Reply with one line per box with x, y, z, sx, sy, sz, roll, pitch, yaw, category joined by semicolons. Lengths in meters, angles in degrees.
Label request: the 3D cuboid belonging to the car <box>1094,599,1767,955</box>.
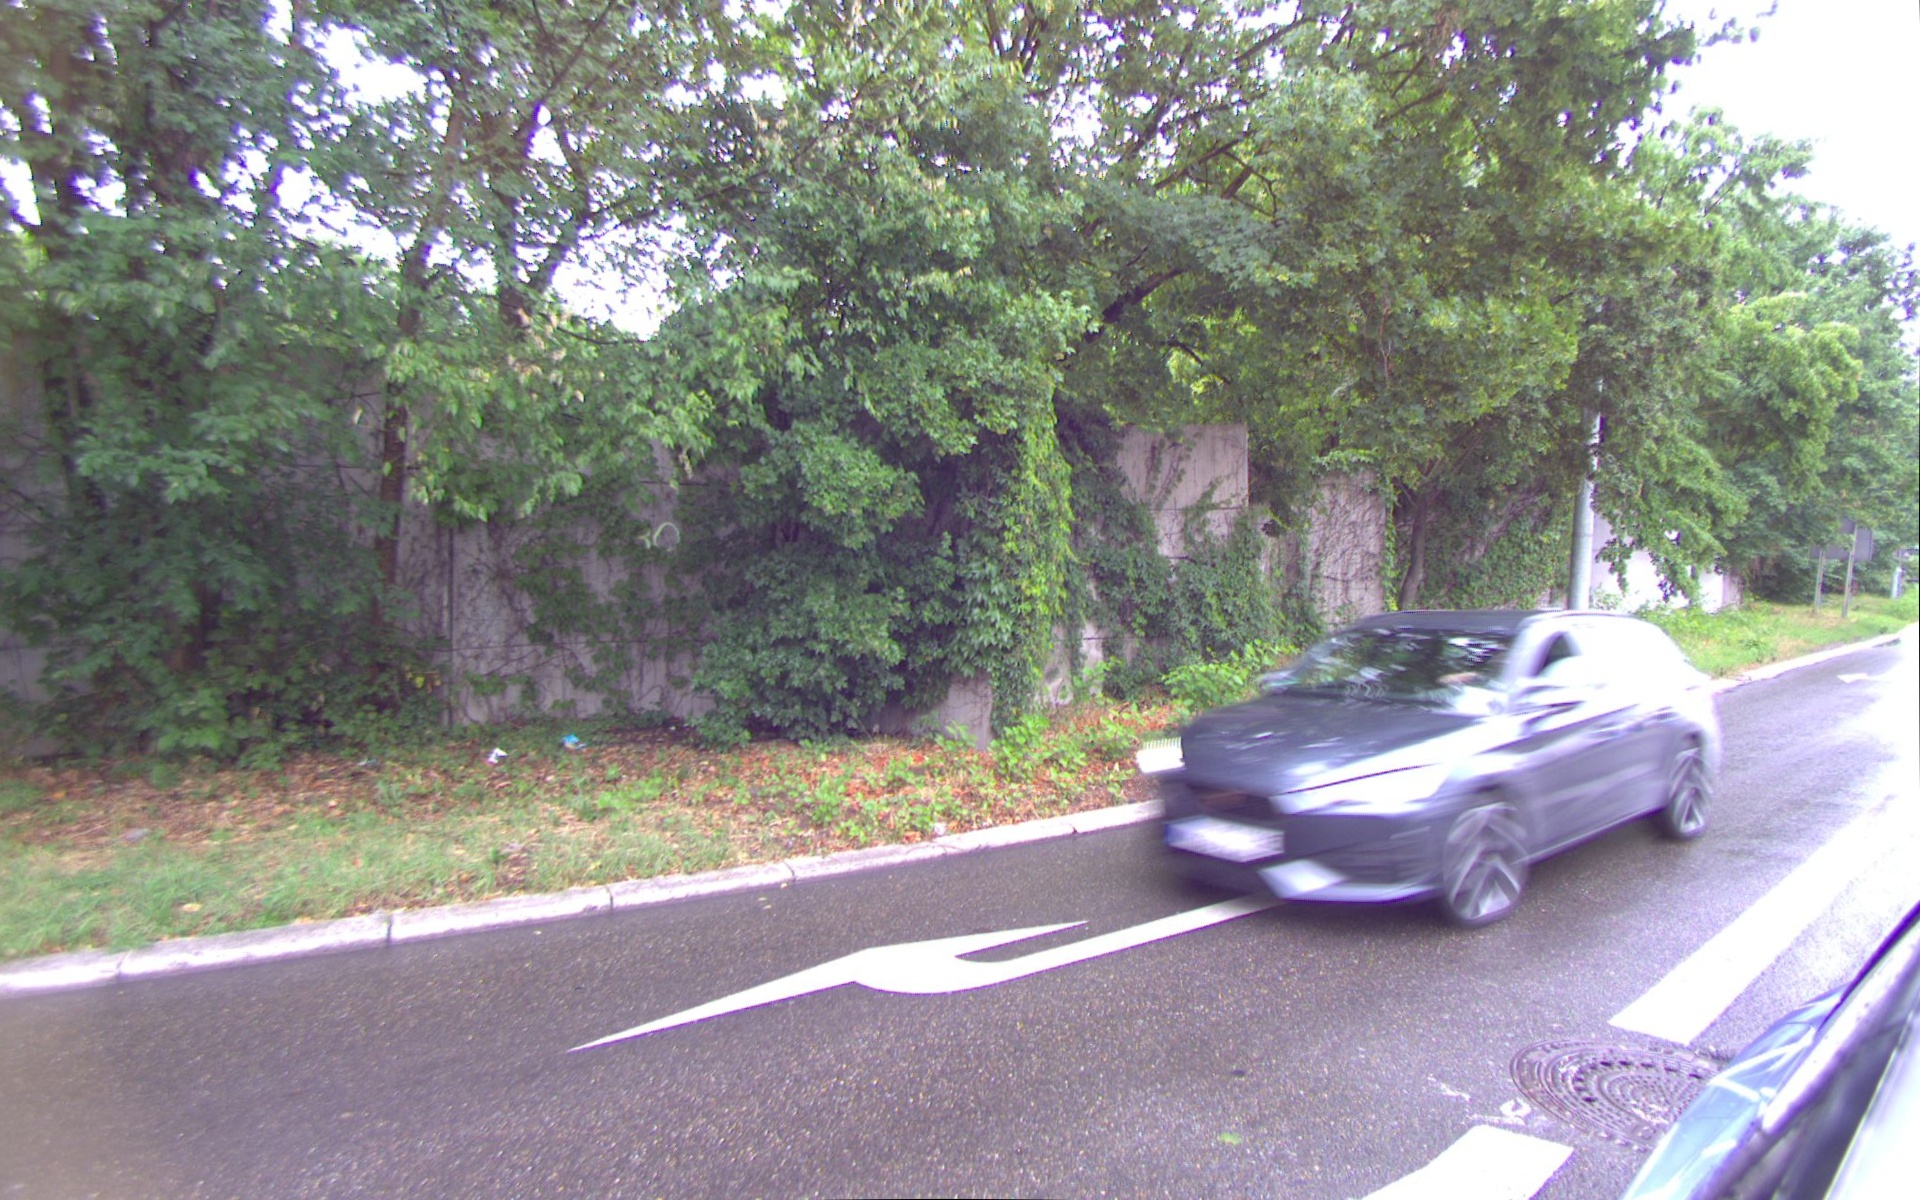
2.990;0.733;6.043;4.330;1.421;1.753;1;-1;-36;car
